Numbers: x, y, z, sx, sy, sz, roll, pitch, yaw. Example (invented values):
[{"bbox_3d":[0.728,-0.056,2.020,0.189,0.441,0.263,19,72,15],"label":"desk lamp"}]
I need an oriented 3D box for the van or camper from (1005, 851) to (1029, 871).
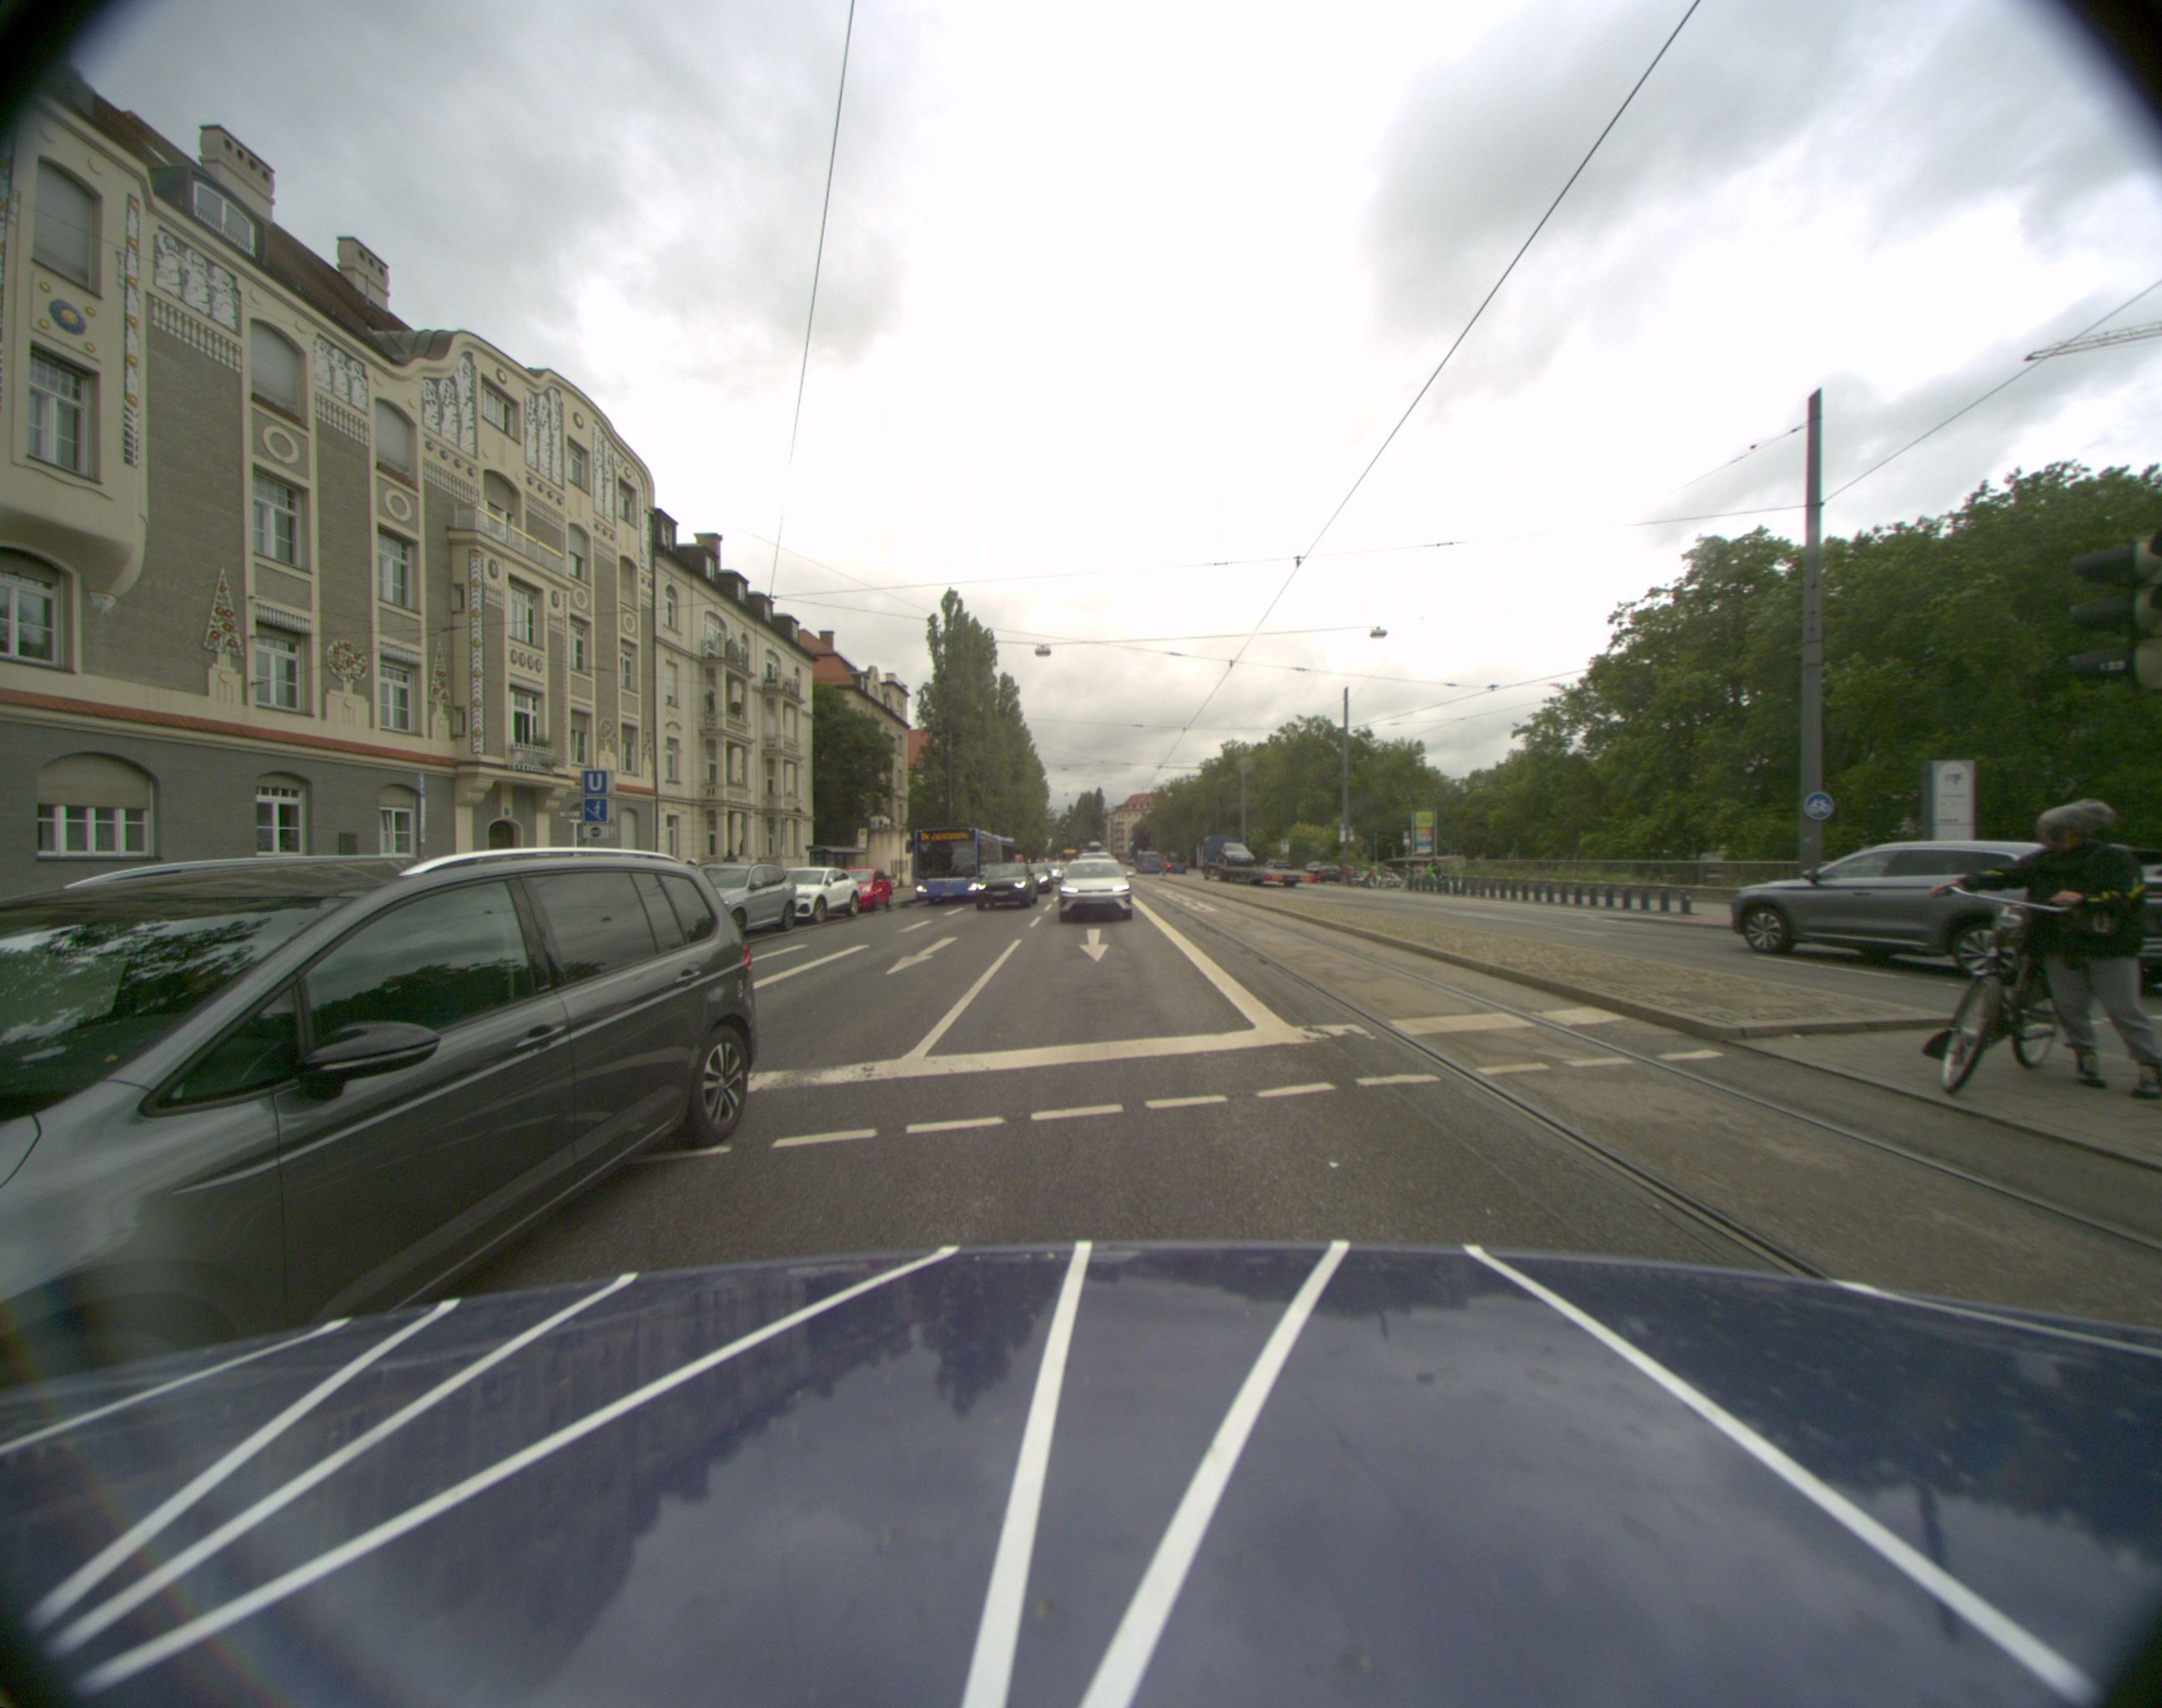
[{"bbox_3d":[-6.869,0.732,81.927,2.124,2.086,5.514,-1,0,0],"label":"van or camper"}]

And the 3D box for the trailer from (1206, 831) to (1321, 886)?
[{"bbox_3d":[10.273,0.209,45.279,2.617,2.666,15.637,1,0,-2],"label":"trailer"}]

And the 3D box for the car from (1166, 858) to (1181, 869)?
[{"bbox_3d":[13.702,1.376,113.173,1.809,1.633,4.000,-1,0,1],"label":"car"}]

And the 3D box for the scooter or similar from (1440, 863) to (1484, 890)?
[{"bbox_3d":[16.958,1.012,33.800,1.692,1.165,0.562,-1,0,-2],"label":"scooter or similar"}]

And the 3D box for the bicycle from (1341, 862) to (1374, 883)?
[{"bbox_3d":[15.702,1.061,43.122,1.693,1.165,0.505,-1,0,-7],"label":"bicycle"}]

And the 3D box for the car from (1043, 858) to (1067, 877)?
[{"bbox_3d":[-1.931,1.024,57.473,1.704,1.379,3.632,0,-1,0],"label":"car"}]

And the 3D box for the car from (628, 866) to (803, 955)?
[{"bbox_3d":[-7.865,1.125,16.894,1.737,1.651,4.502,0,0,0],"label":"car"}]

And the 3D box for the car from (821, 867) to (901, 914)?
[{"bbox_3d":[-7.653,1.230,26.753,1.730,1.500,3.742,0,0,0],"label":"car"}]

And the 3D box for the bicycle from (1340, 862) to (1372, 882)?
[{"bbox_3d":[16.102,1.042,44.421,1.692,1.165,0.505,-1,0,-3],"label":"bicycle"}]

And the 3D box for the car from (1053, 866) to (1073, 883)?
[{"bbox_3d":[-1.612,1.831,68.686,1.704,1.513,3.632,0,0,0],"label":"car"}]

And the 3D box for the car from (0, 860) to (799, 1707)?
[{"bbox_3d":[-2.884,0.900,2.737,1.776,1.637,4.708,-2,0,2],"label":"car"}]

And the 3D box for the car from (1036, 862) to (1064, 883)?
[{"bbox_3d":[-2.070,1.235,51.798,1.704,1.360,3.632,0,0,1],"label":"car"}]

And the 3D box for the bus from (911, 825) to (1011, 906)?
[{"bbox_3d":[-5.001,0.451,33.643,2.637,2.956,9.466,-2,0,1],"label":"bus"}]

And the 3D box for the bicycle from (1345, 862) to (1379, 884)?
[{"bbox_3d":[15.727,1.060,42.536,1.693,1.165,0.561,-1,0,-9],"label":"bicycle"}]

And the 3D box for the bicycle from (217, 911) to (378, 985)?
[{"bbox_3d":[-13.275,1.560,12.954,0.391,1.017,1.842,-1,1,28],"label":"bicycle"}]

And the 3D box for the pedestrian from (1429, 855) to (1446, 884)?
[{"bbox_3d":[19.177,0.841,40.917,0.632,1.549,0.589,0,1,0],"label":"pedestrian"}]

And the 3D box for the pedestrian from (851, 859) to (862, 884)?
[{"bbox_3d":[-16.977,1.313,57.437,0.609,1.885,0.673,0,1,3],"label":"pedestrian"}]

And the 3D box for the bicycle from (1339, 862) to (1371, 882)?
[{"bbox_3d":[16.204,1.048,44.976,1.692,1.165,0.562,-1,0,-2],"label":"bicycle"}]

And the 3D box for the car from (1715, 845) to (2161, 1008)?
[{"bbox_3d":[11.261,0.738,9.982,1.868,1.629,4.677,1,0,-1],"label":"car"}]

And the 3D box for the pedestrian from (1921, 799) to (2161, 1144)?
[{"bbox_3d":[5.835,0.604,4.447,0.860,1.801,0.897,-2,1,-4],"label":"pedestrian"}]

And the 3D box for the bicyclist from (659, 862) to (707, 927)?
[{"bbox_3d":[-10.127,1.010,19.362,0.681,1.594,0.939,0,1,1],"label":"bicyclist"}]

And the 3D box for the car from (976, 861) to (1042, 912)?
[{"bbox_3d":[-2.385,1.054,26.005,1.780,1.495,3.970,-2,0,1],"label":"car"}]

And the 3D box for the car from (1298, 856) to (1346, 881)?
[{"bbox_3d":[15.795,0.928,49.951,1.864,1.517,4.233,0,0,1],"label":"car"}]

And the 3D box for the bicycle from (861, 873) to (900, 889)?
[{"bbox_3d":[-12.607,1.675,47.806,2.323,0.916,0.600,-2,1,-2],"label":"bicycle"}]

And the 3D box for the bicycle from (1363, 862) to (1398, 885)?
[{"bbox_3d":[16.092,1.045,40.777,1.693,1.165,0.561,-1,0,-9],"label":"bicycle"}]

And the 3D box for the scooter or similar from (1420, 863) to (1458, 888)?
[{"bbox_3d":[16.941,1.011,35.980,1.695,1.165,0.561,-1,0,-18],"label":"scooter or similar"}]

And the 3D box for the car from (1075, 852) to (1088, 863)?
[{"bbox_3d":[0.080,0.696,152.409,2.465,2.178,5.456,0,0,1],"label":"car"}]

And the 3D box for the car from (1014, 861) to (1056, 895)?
[{"bbox_3d":[-2.193,1.126,37.223,1.704,1.424,4.245,-3,0,1],"label":"car"}]

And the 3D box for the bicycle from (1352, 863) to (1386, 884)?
[{"bbox_3d":[15.772,1.059,41.604,1.693,1.165,0.505,-1,0,-9],"label":"bicycle"}]

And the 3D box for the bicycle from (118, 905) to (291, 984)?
[{"bbox_3d":[-15.197,1.536,13.250,1.890,1.147,0.464,-2,1,-41],"label":"bicycle"}]

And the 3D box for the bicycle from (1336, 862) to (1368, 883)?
[{"bbox_3d":[15.632,1.064,43.820,1.693,1.165,0.505,-1,0,-6],"label":"bicycle"}]

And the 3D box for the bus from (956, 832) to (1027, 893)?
[{"bbox_3d":[-4.829,0.433,42.619,2.637,2.956,8.534,-2,0,1],"label":"bus"}]

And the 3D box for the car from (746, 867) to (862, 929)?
[{"bbox_3d":[-7.791,1.184,21.814,1.730,1.567,3.967,0,0,2],"label":"car"}]

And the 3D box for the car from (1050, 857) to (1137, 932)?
[{"bbox_3d":[0.368,0.910,19.247,1.812,1.496,4.953,-4,0,2],"label":"car"}]

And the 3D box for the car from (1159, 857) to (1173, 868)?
[{"bbox_3d":[13.617,1.323,121.918,1.809,1.633,4.000,-1,0,1],"label":"car"}]

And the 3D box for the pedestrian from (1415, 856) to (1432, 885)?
[{"bbox_3d":[18.383,0.877,40.800,0.632,1.549,0.589,0,1,0],"label":"pedestrian"}]

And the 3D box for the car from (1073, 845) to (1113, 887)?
[{"bbox_3d":[0.610,0.584,39.929,1.998,2.100,4.000,0,0,1],"label":"car"}]

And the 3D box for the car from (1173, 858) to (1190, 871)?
[{"bbox_3d":[13.779,1.409,104.487,1.809,1.633,4.000,-1,0,1],"label":"car"}]

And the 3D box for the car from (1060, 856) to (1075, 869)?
[{"bbox_3d":[-1.554,0.997,88.818,1.704,1.513,3.632,0,0,0],"label":"car"}]

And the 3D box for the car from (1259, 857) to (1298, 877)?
[{"bbox_3d":[15.574,1.001,60.079,1.998,1.561,4.102,-1,0,1],"label":"car"}]

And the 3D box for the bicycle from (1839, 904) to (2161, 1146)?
[{"bbox_3d":[5.647,0.946,4.606,2.233,1.144,0.505,-2,1,-17],"label":"bicycle"}]

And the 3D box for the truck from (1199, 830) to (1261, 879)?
[{"bbox_3d":[10.094,0.047,52.377,2.572,3.069,7.689,1,0,-1],"label":"truck"}]

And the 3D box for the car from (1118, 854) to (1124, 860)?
[{"bbox_3d":[11.696,0.867,223.854,1.628,1.473,3.602,-1,0,1],"label":"car"}]

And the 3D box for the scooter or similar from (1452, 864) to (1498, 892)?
[{"bbox_3d":[16.885,1.017,32.617,1.692,1.165,0.562,-1,0,-2],"label":"scooter or similar"}]

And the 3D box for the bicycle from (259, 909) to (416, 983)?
[{"bbox_3d":[-12.600,1.530,12.954,0.445,1.017,1.842,-1,1,28],"label":"bicycle"}]

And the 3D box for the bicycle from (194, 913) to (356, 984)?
[{"bbox_3d":[-13.802,1.585,13.088,0.391,0.972,1.842,-1,1,28],"label":"bicycle"}]

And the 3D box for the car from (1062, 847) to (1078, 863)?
[{"bbox_3d":[-1.941,0.238,139.152,2.806,2.835,5.114,0,0,1],"label":"car"}]

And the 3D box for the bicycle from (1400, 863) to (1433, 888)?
[{"bbox_3d":[16.377,1.036,37.071,1.696,1.165,0.560,-1,0,-29],"label":"bicycle"}]

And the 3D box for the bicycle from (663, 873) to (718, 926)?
[{"bbox_3d":[-10.101,1.148,19.726,0.424,1.280,1.779,-1,0,2],"label":"bicycle"}]

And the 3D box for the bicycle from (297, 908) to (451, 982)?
[{"bbox_3d":[-11.968,1.501,12.945,0.445,1.017,1.842,-1,1,28],"label":"bicycle"}]

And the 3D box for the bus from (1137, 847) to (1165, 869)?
[{"bbox_3d":[9.844,0.581,108.236,2.632,2.949,13.414,1,0,-1],"label":"bus"}]

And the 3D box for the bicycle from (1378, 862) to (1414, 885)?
[{"bbox_3d":[16.433,1.031,39.608,1.693,1.165,0.561,-1,0,-9],"label":"bicycle"}]
